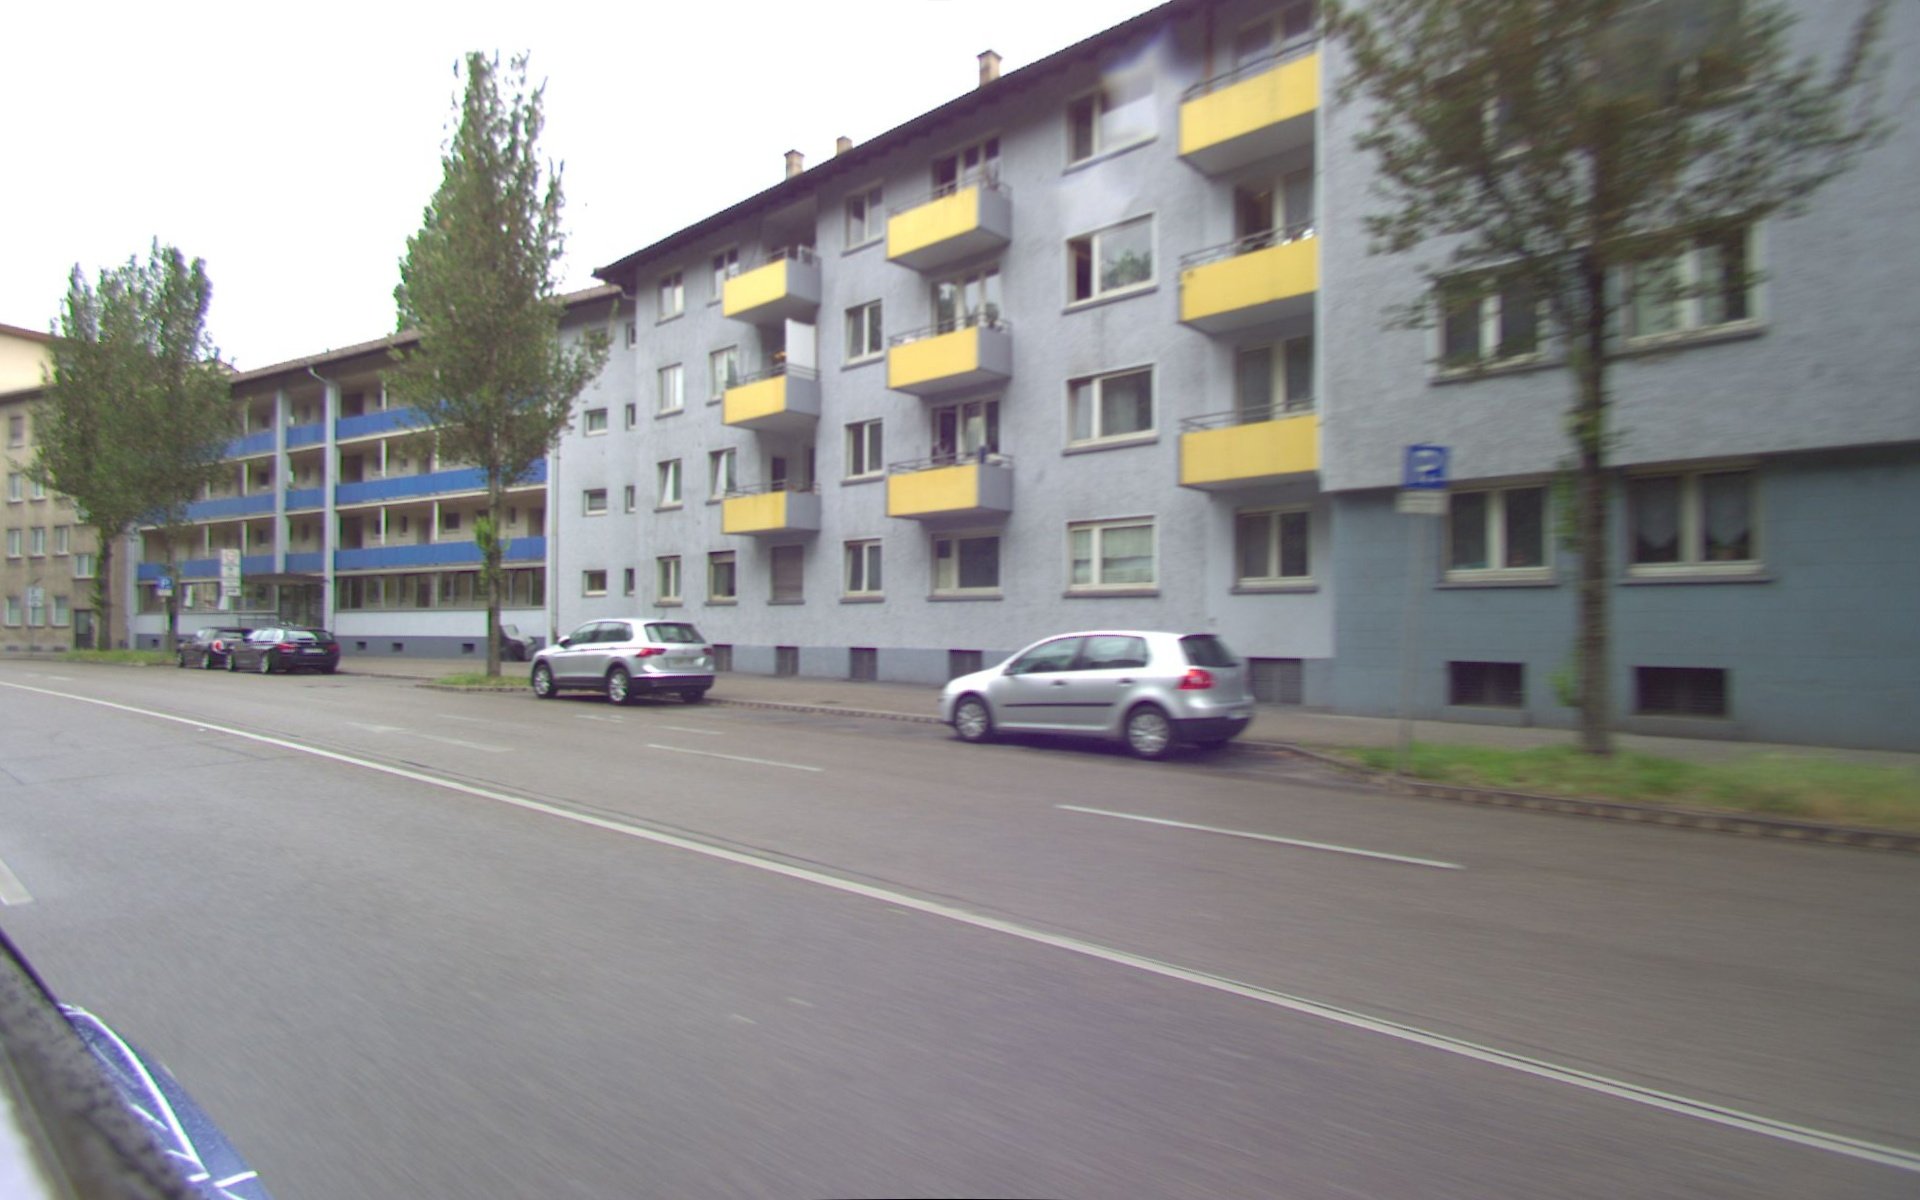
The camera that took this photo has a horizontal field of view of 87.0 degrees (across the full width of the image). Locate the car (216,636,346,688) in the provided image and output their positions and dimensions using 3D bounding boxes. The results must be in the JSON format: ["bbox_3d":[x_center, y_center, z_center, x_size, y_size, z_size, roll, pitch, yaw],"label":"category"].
[{"bbox_3d":[-21.020,1.883,31.259,4.884,1.450,1.804,-1,-4,37],"label":"car"}]

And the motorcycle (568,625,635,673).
[{"bbox_3d":[-11.307,1.528,31.898,2.227,1.424,0.670,-1,0,30],"label":"motorcycle"}]

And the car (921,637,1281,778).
[{"bbox_3d":[1.652,1.206,12.690,4.201,1.464,1.707,-1,-3,39],"label":"car"}]

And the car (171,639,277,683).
[{"bbox_3d":[-25.310,2.065,34.768,4.081,1.414,1.763,-2,-4,37],"label":"car"}]

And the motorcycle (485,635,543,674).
[{"bbox_3d":[-15.050,1.815,34.119,2.229,1.263,0.670,-1,0,33],"label":"motorcycle"}]

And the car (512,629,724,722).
[{"bbox_3d":[-6.765,1.400,19.823,4.527,1.616,1.747,-2,-3,38],"label":"car"}]
